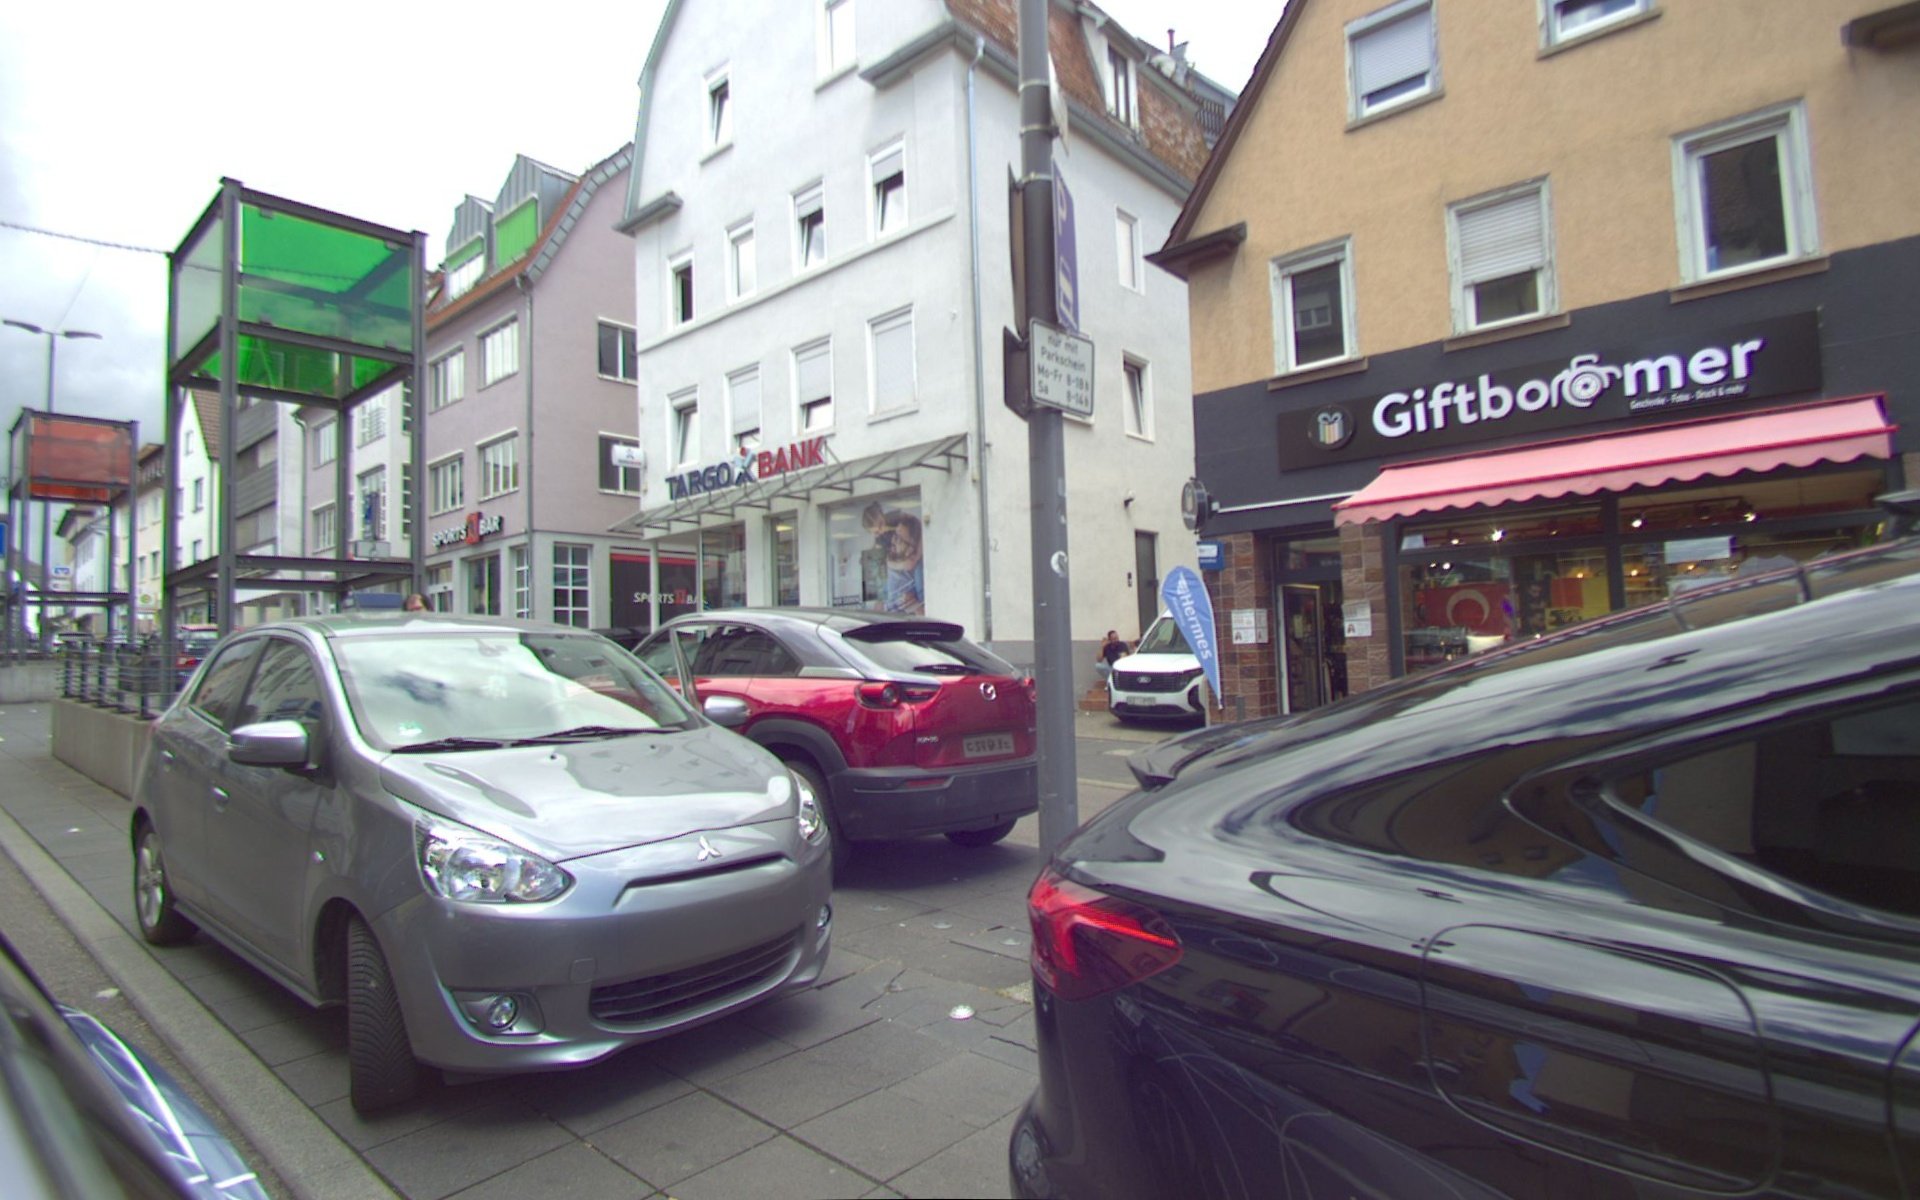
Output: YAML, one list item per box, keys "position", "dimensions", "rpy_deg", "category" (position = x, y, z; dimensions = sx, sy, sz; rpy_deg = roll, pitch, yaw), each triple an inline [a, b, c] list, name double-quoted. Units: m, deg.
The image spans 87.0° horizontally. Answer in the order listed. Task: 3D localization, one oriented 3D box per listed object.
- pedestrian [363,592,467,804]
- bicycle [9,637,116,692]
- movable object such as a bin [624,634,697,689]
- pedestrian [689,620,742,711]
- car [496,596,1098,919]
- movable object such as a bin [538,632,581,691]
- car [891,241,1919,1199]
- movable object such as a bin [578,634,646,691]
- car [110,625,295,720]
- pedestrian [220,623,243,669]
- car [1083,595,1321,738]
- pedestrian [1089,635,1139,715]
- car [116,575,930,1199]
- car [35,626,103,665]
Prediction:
- position: [-4.623, 0.794, 8.579]
  dimensions: [0.901, 1.685, 0.527]
  rpy_deg: [-2, -2, 44]
  category: "pedestrian"
- position: [-20.694, 1.465, 23.369]
  dimensions: [0.459, 1.232, 1.760]
  rpy_deg: [-1, -3, 40]
  category: "bicycle"
- position: [-7.863, 1.591, 26.568]
  dimensions: [1.406, 1.387, 1.270]
  rpy_deg: [-2, -2, 41]
  category: "movable object such as a bin"
- position: [-4.372, 1.158, 18.120]
  dimensions: [0.716, 1.585, 0.559]
  rpy_deg: [-2, -4, 41]
  category: "pedestrian"
- position: [-1.302, 0.818, 6.903]
  dimensions: [4.189, 1.555, 1.721]
  rpy_deg: [-1, -3, 40]
  category: "car"
- position: [-9.708, 1.467, 24.525]
  dimensions: [0.807, 1.387, 0.682]
  rpy_deg: [-2, -2, 41]
  category: "movable object such as a bin"
- position: [2.192, 0.581, 0.544]
  dimensions: [4.310, 1.652, 1.937]
  rpy_deg: [-1, -1, 40]
  category: "car"
- position: [-8.826, 1.569, 25.691]
  dimensions: [1.067, 1.387, 1.270]
  rpy_deg: [-2, -2, 41]
  category: "movable object such as a bin"
- position: [-13.185, 1.188, 17.553]
  dimensions: [3.850, 1.486, 1.554]
  rpy_deg: [-1, -3, 38]
  category: "car"
- position: [-27.650, 1.740, 38.408]
  dimensions: [0.513, 1.729, 0.584]
  rpy_deg: [-1, -1, 41]
  category: "pedestrian"
- position: [3.913, 0.930, 15.947]
  dimensions: [1.883, 1.887, 4.026]
  rpy_deg: [-2, 0, 42]
  category: "car"
- position: [2.624, 1.256, 17.221]
  dimensions: [0.606, 1.329, 0.619]
  rpy_deg: [-2, -2, 40]
  category: "pedestrian"
- position: [-2.015, 0.740, 4.109]
  dimensions: [3.668, 1.544, 1.603]
  rpy_deg: [-1, -1, 41]
  category: "car"
- position: [-38.400, 1.914, 43.602]
  dimensions: [4.120, 1.583, 1.662]
  rpy_deg: [-1, -1, 41]
  category: "car"
